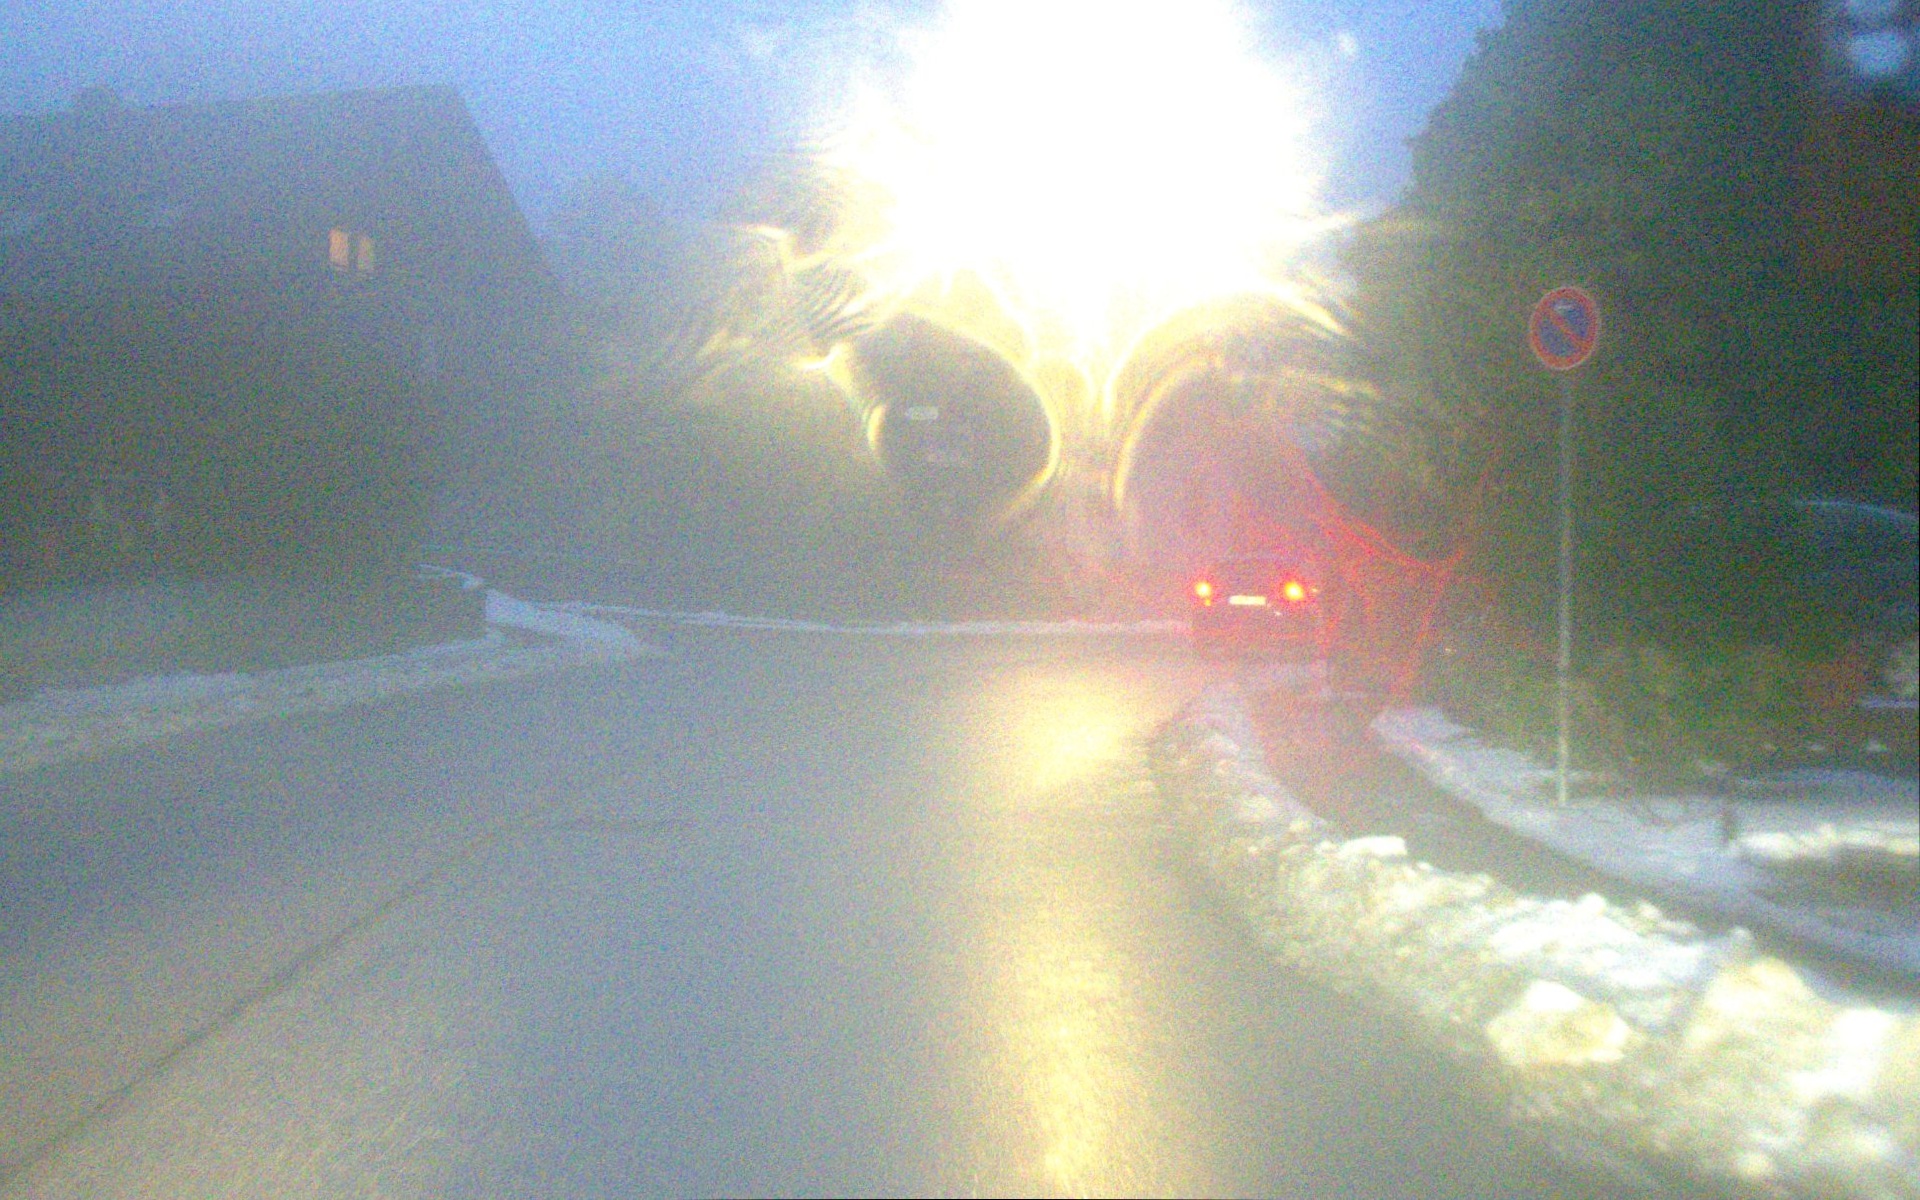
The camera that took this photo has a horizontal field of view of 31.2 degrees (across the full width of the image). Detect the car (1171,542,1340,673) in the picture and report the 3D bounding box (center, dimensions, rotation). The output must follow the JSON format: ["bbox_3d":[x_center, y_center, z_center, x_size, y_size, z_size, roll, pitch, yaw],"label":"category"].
[{"bbox_3d":[4.326,0.146,49.894,1.994,1.731,3.876,-1,-2,11],"label":"car"}]

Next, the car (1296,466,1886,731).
[{"bbox_3d":[4.491,0.012,24.994,3.987,1.684,1.844,-3,-1,5],"label":"car"}]
